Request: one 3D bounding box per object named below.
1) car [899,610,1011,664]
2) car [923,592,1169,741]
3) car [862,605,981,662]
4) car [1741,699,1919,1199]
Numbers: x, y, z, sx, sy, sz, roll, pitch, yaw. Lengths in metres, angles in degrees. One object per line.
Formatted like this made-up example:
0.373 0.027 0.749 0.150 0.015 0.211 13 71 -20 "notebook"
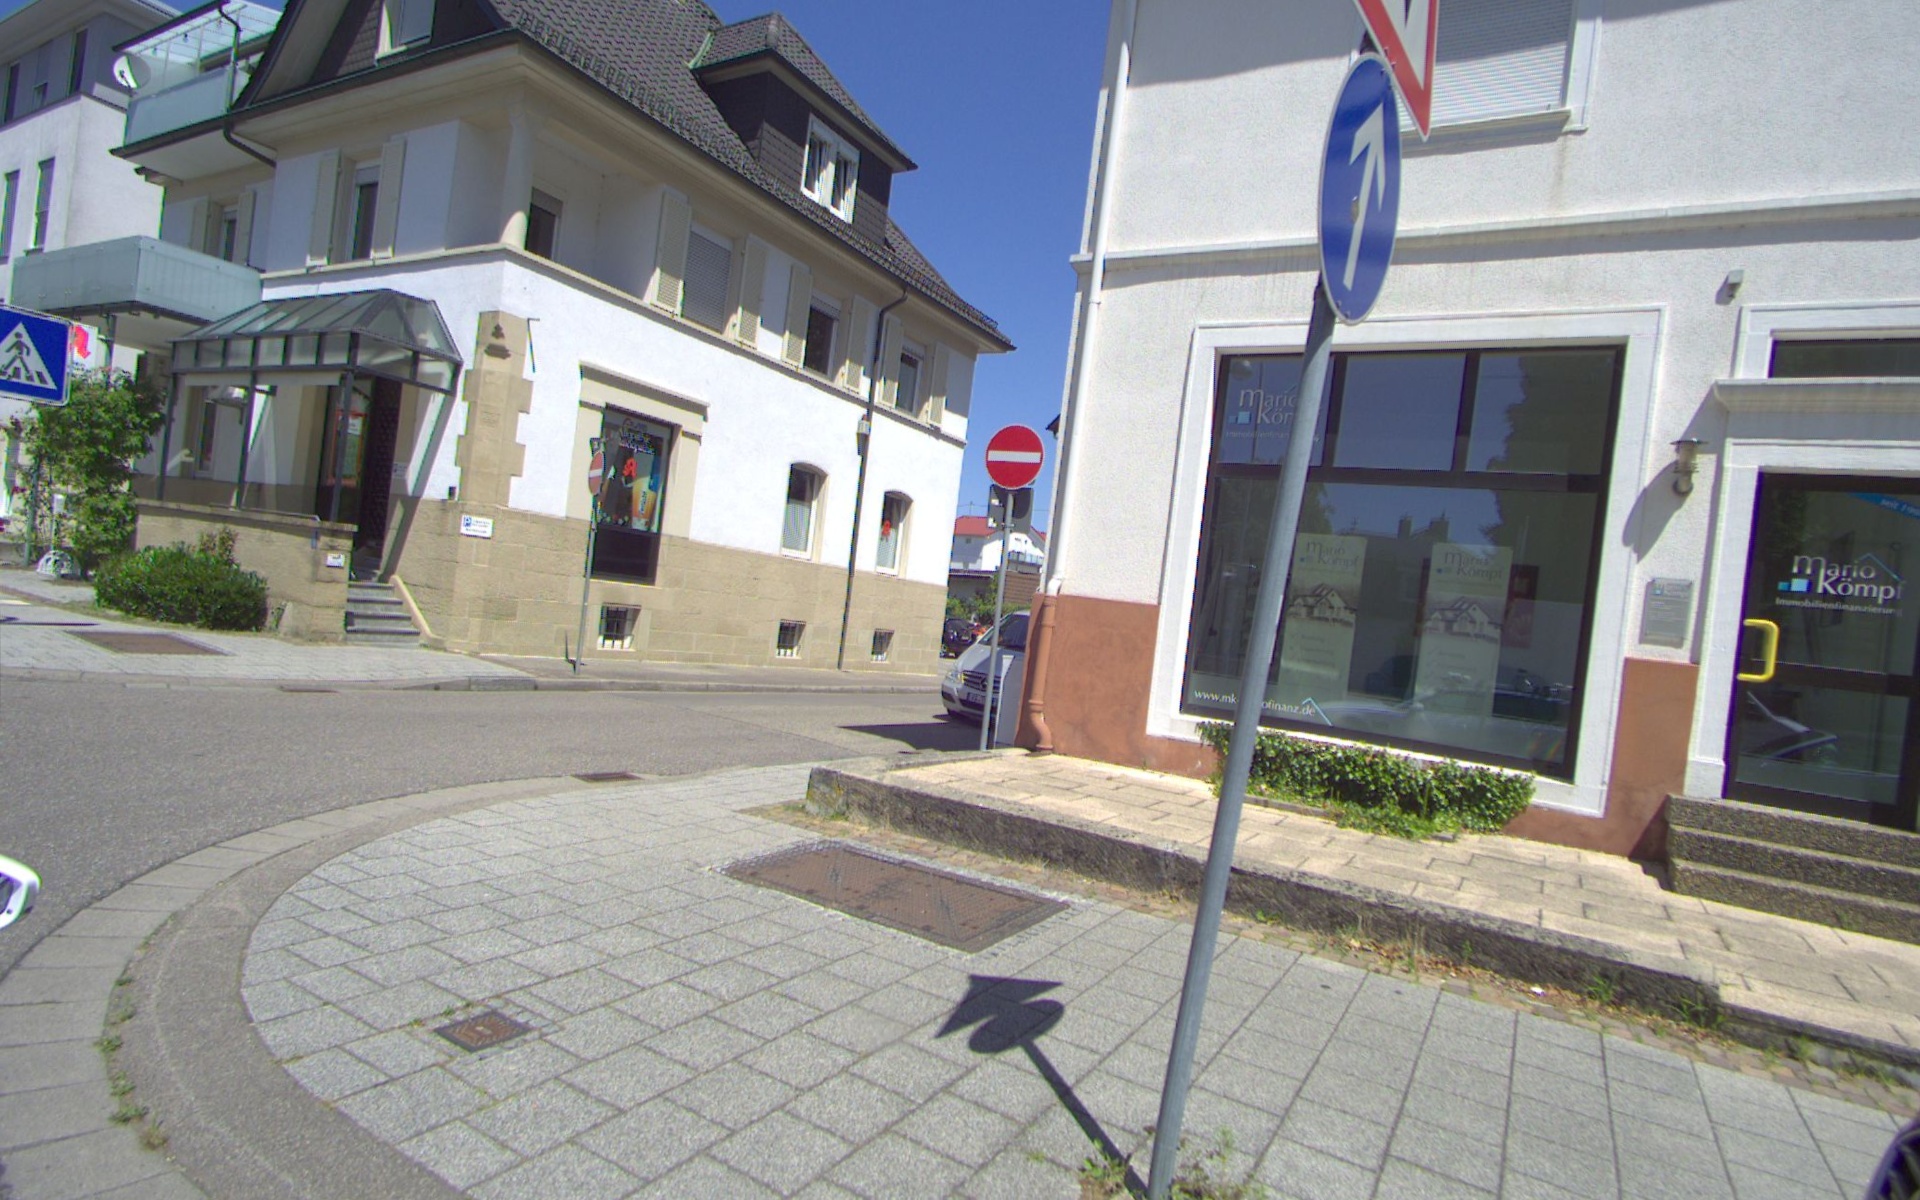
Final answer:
-0.221 1.452 39.667 4.000 1.593 1.854 6 -1 36 "car"
1.613 1.141 16.775 1.896 1.899 4.801 9 0 32 "car"
-1.449 1.229 37.398 3.999 1.593 1.854 6 -1 35 "car"
3.507 1.136 0.517 4.622 1.445 1.828 6 1 32 "car"
